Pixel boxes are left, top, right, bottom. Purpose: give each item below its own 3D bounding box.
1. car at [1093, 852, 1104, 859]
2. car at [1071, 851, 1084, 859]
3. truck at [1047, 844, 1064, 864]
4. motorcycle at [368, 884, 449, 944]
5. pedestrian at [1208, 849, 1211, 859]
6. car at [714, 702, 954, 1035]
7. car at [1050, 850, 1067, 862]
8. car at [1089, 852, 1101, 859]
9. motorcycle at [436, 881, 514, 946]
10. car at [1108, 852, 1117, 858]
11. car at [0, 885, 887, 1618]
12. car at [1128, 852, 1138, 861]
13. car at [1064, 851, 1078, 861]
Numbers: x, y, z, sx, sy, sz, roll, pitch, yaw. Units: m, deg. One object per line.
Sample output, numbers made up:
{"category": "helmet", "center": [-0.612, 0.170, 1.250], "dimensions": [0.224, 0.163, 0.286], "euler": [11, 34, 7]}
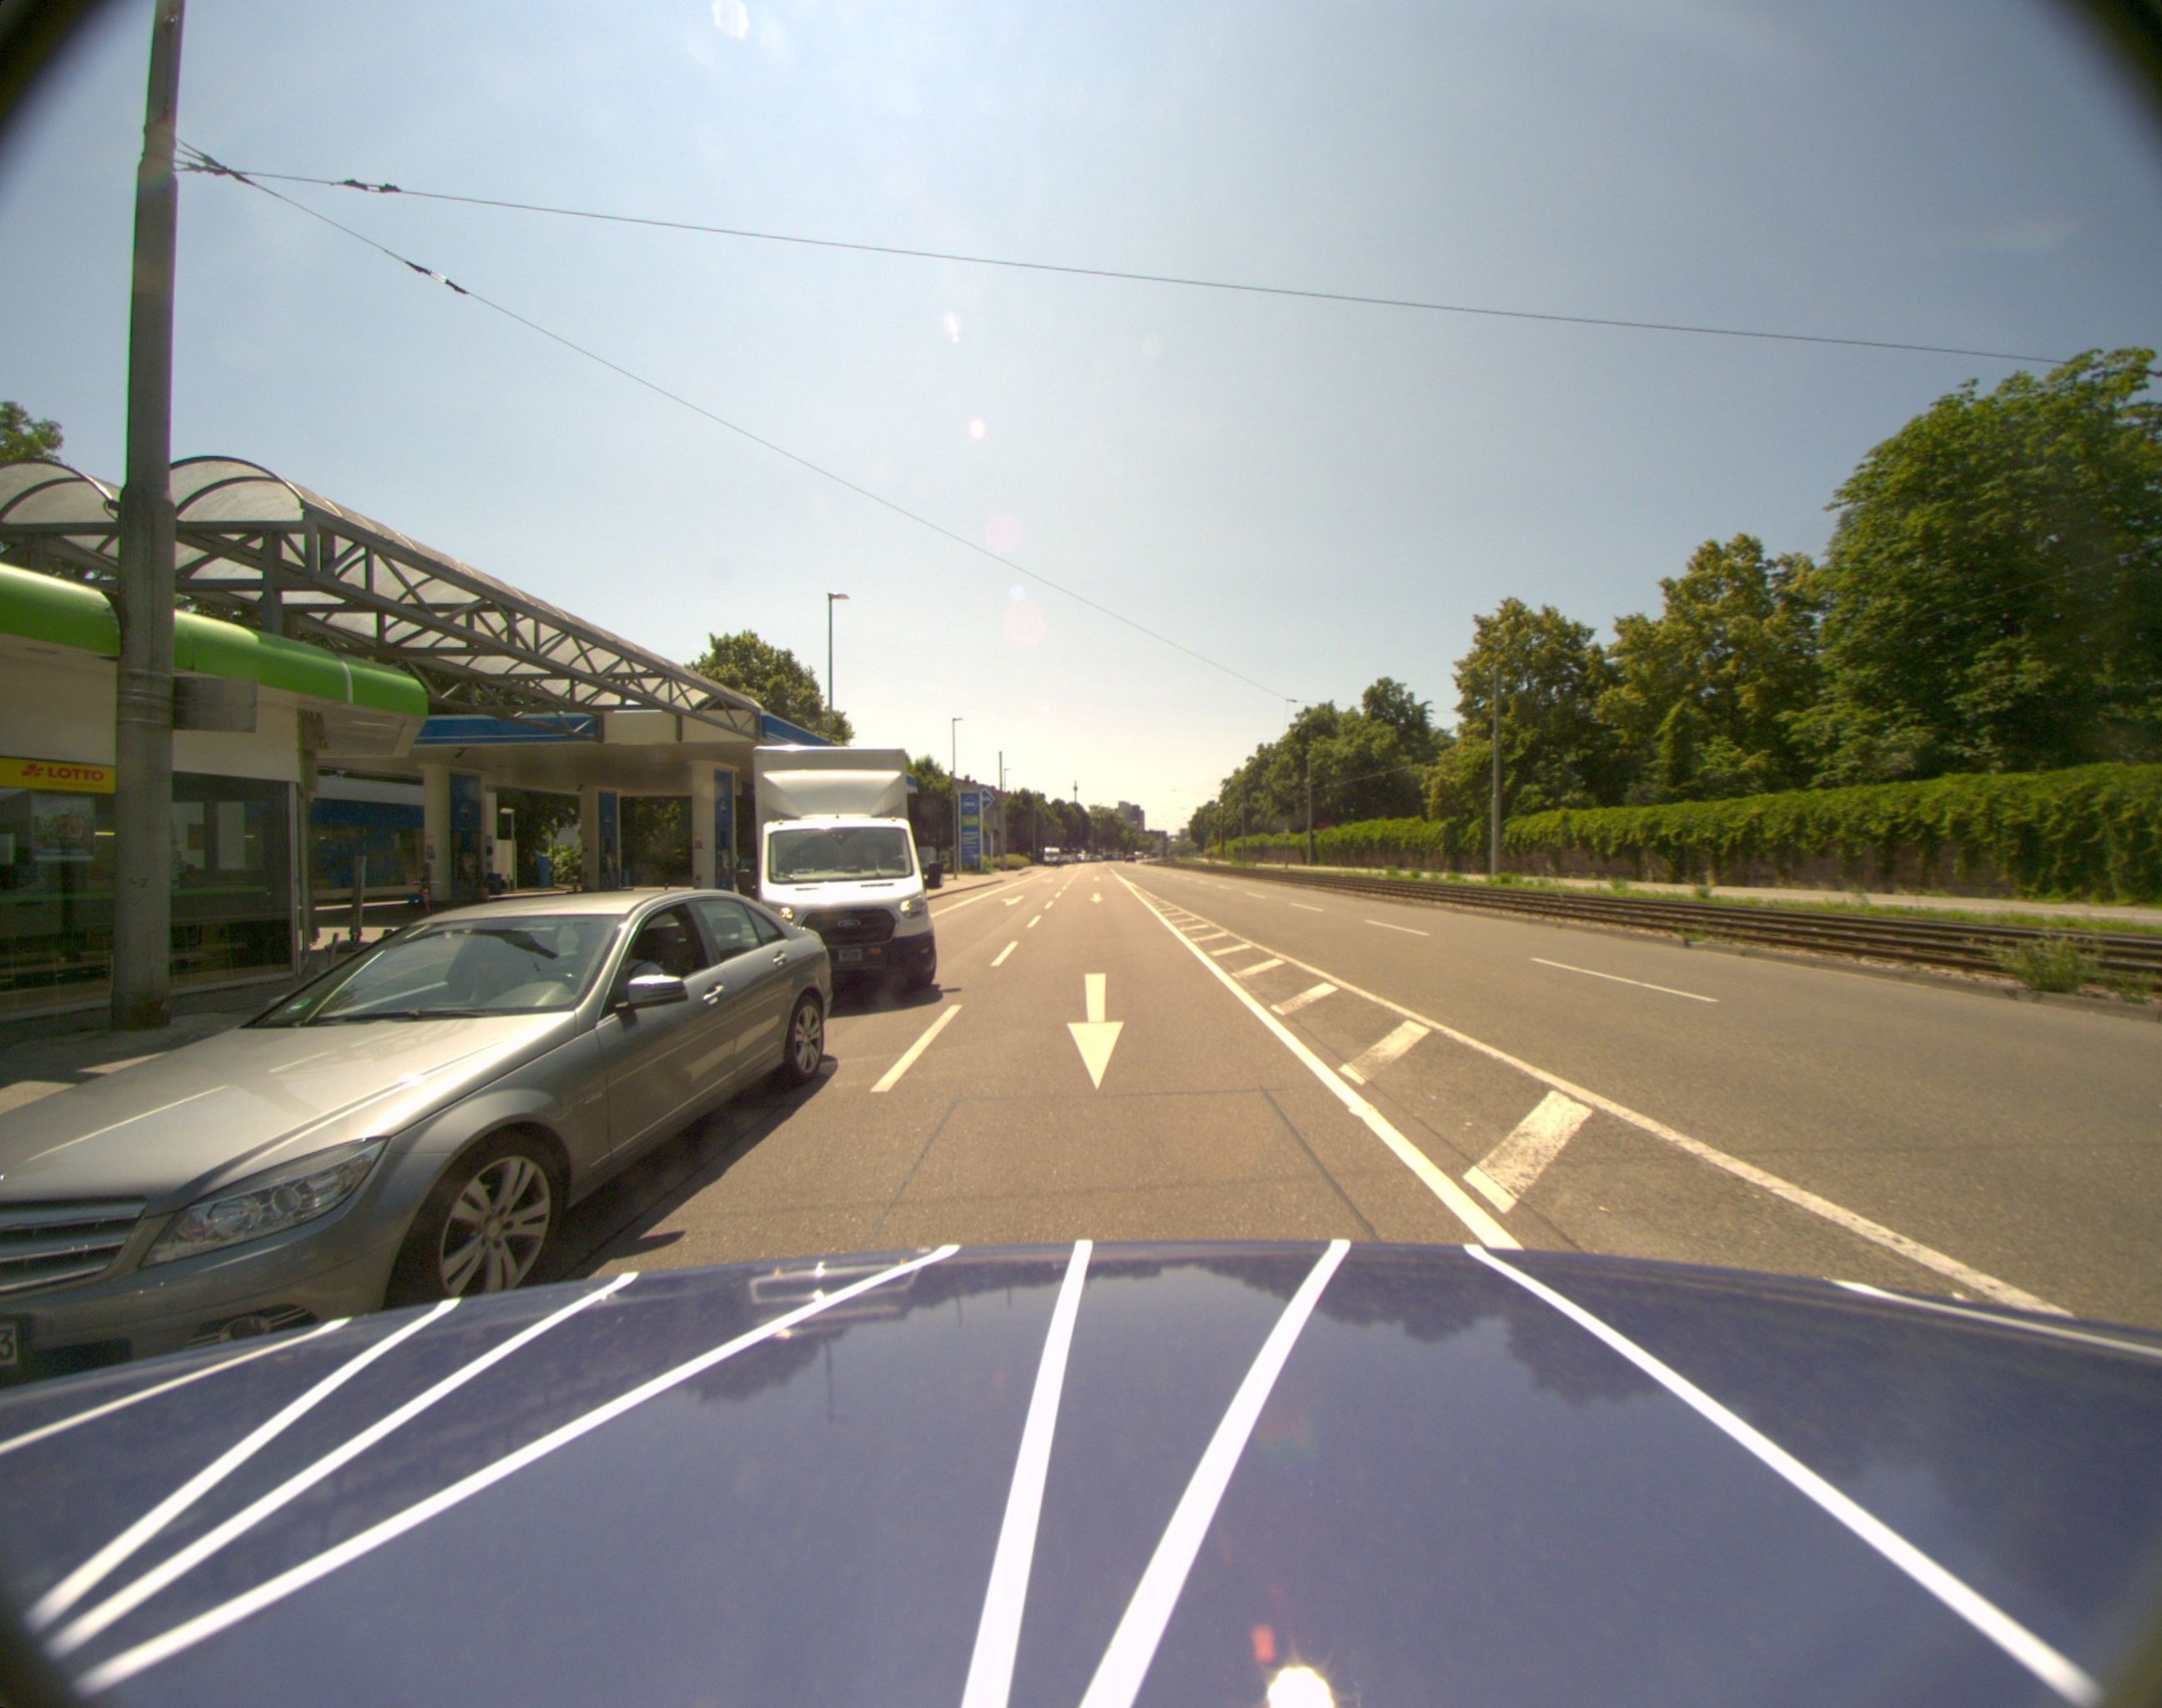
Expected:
{"category": "car", "center": [4.055, 0.279, 177.104], "dimensions": [1.911, 1.488, 4.002], "euler": [-2, 1, 10]}
{"category": "car", "center": [-0.647, 0.167, 138.758], "dimensions": [1.912, 1.488, 4.001], "euler": [-2, 1, 4]}
{"category": "truck", "center": [-3.376, -0.036, 101.566], "dimensions": [1.998, 2.462, 5.237], "euler": [-2, 1, 1]}
{"category": "motorcycle", "center": [-12.839, 1.140, 14.527], "dimensions": [1.157, 1.107, 0.396], "euler": [1, -1, -1]}
{"category": "pedestrian", "center": [20.472, -0.011, 121.187], "dimensions": [0.453, 1.655, 0.302], "euler": [-2, 0, 1]}
{"category": "car", "center": [-3.905, 0.131, 12.006], "dimensions": [2.233, 3.316, 8.622], "euler": [-3, 1, -19]}
{"category": "car", "center": [-3.226, 0.263, 110.278], "dimensions": [1.912, 1.488, 4.001], "euler": [-2, 1, 4]}
{"category": "car", "center": [3.177, 0.370, 171.955], "dimensions": [1.911, 1.488, 4.002], "euler": [-2, 1, 10]}
{"category": "motorcycle", "center": [-11.605, 1.126, 14.553], "dimensions": [1.157, 1.203, 0.364], "euler": [1, -1, -1]}
{"category": "car", "center": [8.395, 0.309, 203.315], "dimensions": [1.911, 1.488, 4.002], "euler": [-2, 1, 10]}
{"category": "car", "center": [-2.784, 1.052, 4.406], "dimensions": [1.717, 1.464, 5.302], "euler": [-3, 0, 2]}
{"category": "car", "center": [9.419, 0.515, 137.442], "dimensions": [1.801, 1.488, 3.964], "euler": [-2, 0, 3]}
{"category": "car", "center": [-1.649, 0.267, 126.593], "dimensions": [1.912, 1.488, 4.001], "euler": [-2, 1, 4]}
